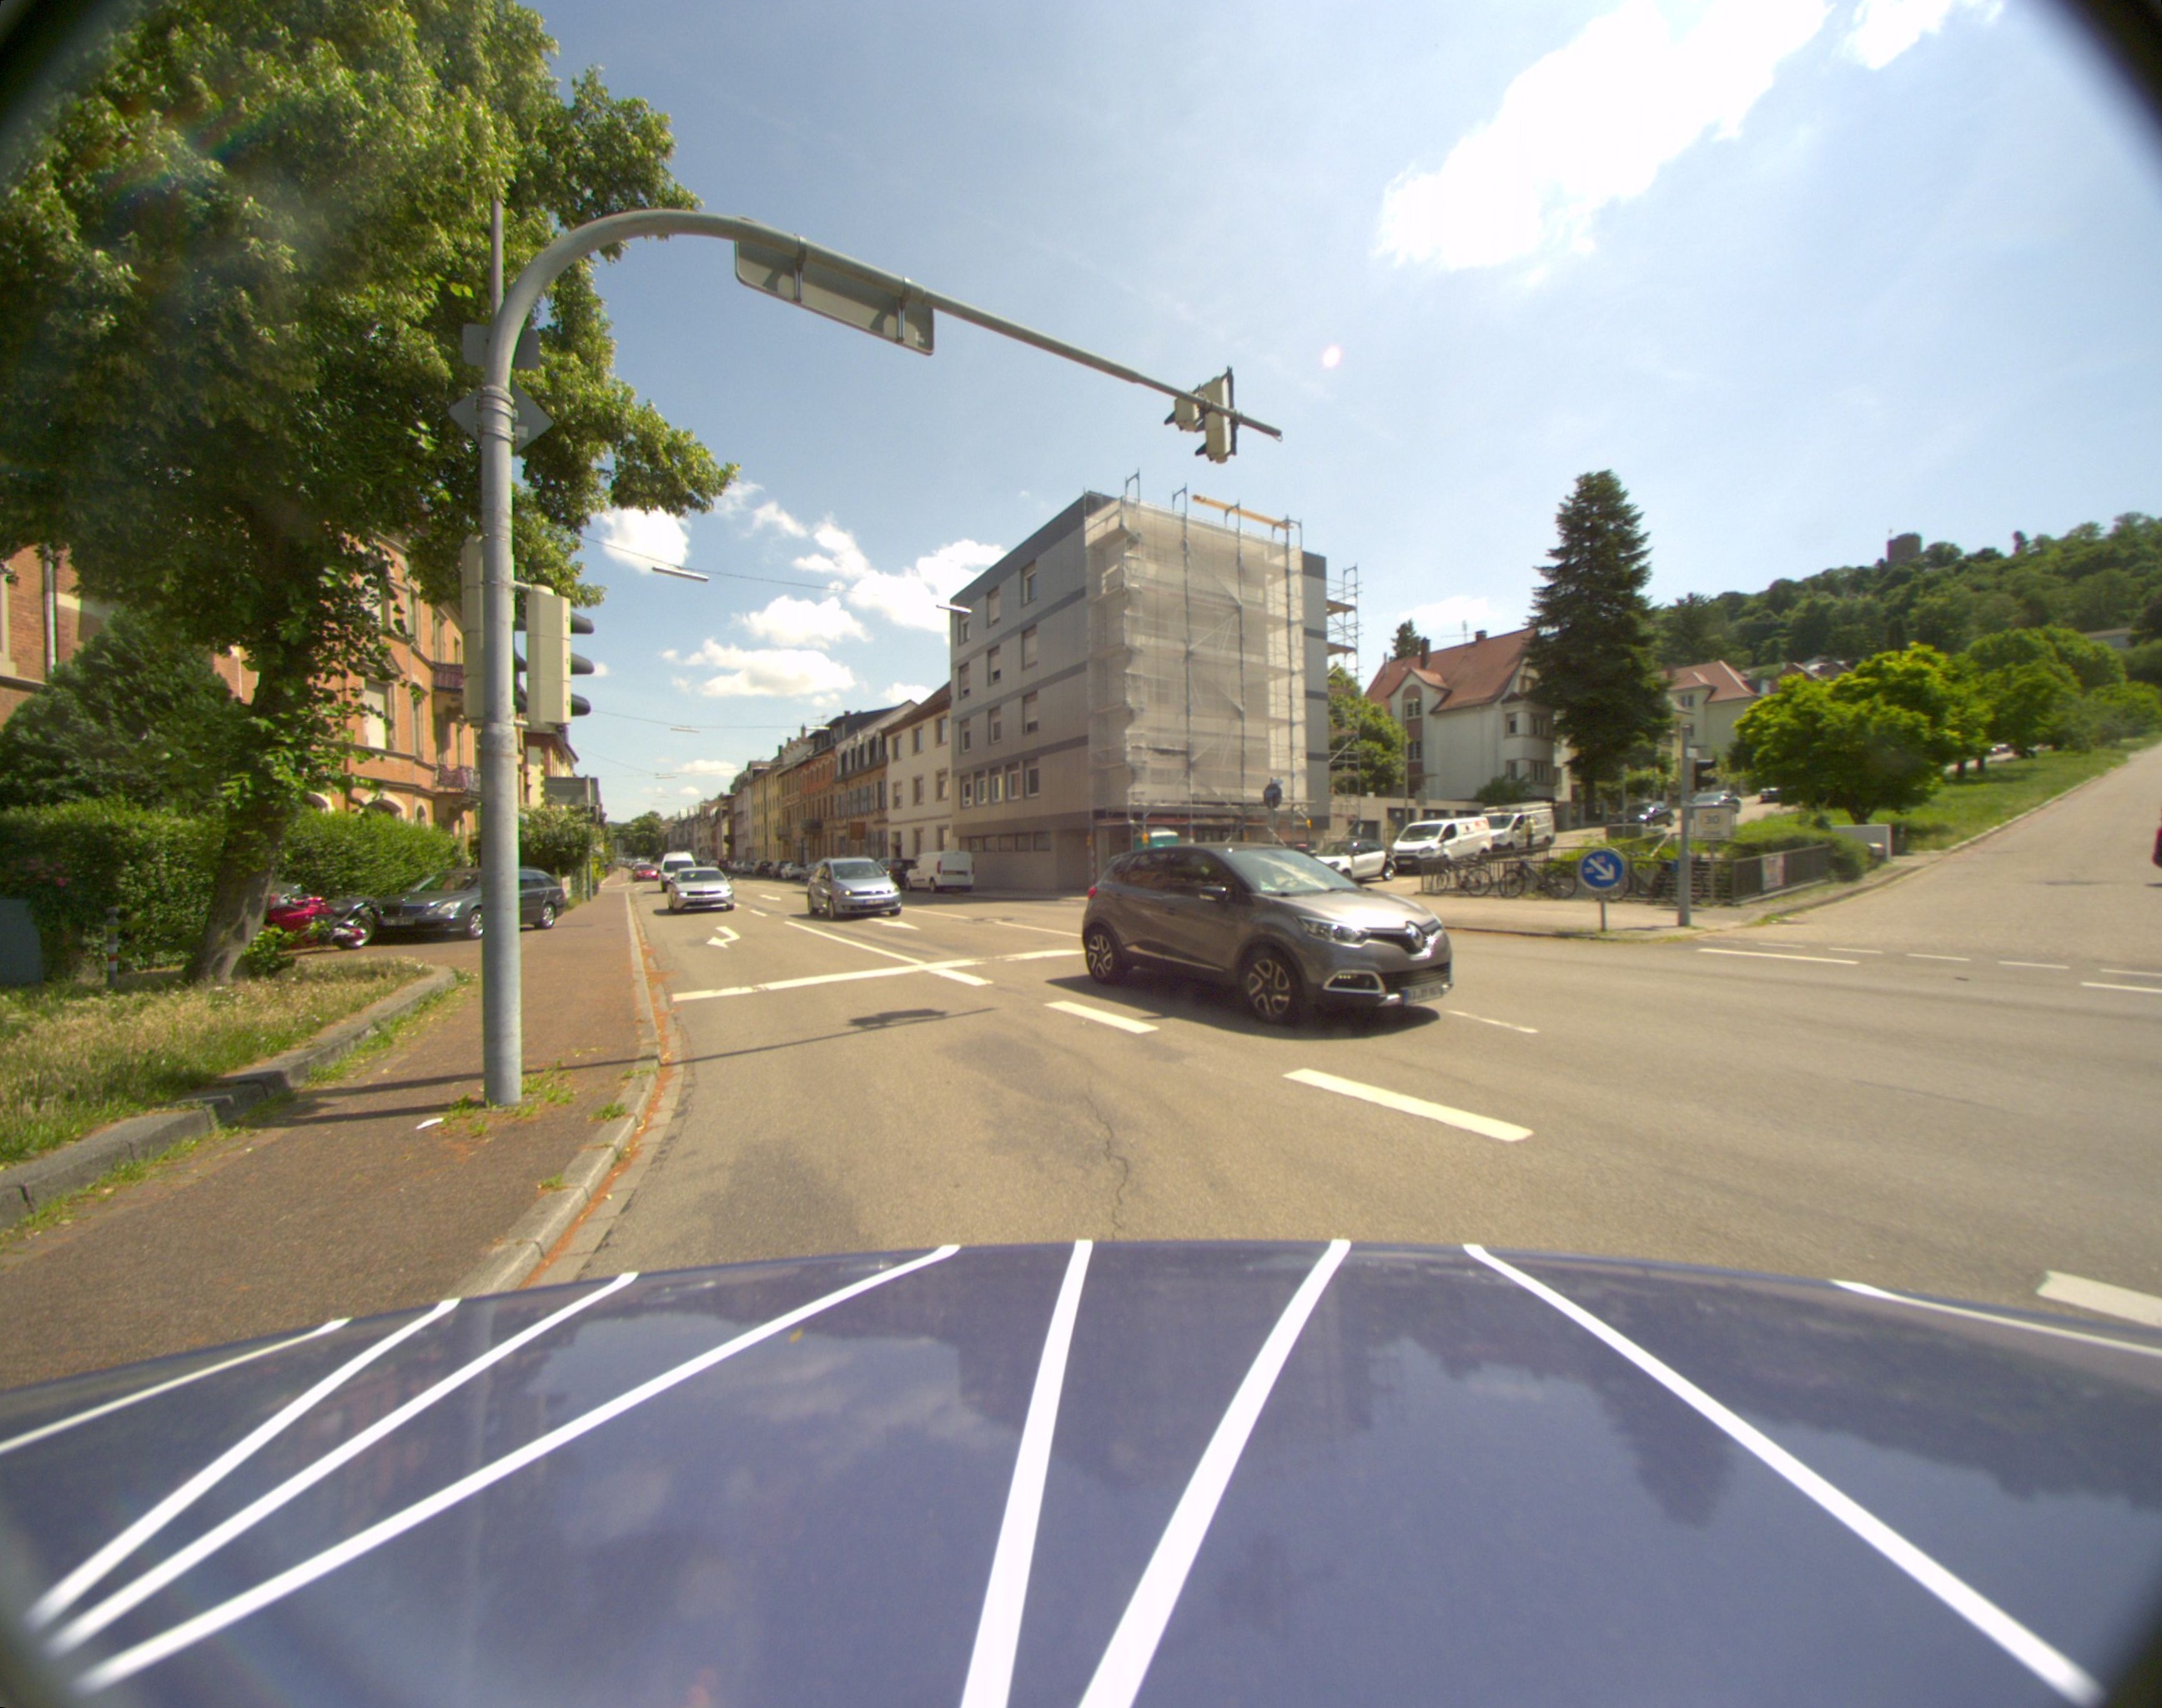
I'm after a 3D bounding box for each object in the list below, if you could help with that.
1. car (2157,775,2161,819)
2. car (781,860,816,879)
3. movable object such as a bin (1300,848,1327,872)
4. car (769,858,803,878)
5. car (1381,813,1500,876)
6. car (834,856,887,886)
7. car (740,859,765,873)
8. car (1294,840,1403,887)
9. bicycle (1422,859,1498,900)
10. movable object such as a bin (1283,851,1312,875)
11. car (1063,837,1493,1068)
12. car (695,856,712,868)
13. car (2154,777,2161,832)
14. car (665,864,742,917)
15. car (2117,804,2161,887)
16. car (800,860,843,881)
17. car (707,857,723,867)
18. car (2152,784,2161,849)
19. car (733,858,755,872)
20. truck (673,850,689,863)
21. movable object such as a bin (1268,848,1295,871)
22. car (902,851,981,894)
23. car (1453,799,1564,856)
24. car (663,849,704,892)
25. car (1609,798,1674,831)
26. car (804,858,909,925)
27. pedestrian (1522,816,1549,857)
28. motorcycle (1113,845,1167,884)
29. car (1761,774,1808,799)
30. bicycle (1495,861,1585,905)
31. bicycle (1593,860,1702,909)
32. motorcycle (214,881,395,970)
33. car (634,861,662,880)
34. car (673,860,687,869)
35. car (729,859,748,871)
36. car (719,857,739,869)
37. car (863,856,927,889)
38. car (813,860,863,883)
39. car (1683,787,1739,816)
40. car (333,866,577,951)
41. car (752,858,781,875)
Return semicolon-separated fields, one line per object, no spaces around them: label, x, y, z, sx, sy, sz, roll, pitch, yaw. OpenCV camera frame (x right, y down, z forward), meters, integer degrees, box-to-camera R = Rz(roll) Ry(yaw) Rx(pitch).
car;39.568;-2.106;26.806;4.005;1.380;1.805;-7;3;-34
car;-23.446;1.249;63.022;1.874;1.417;4.320;3;-1;-31
movable object such as a bin;9.415;0.245;30.795;0.742;0.921;0.702;-3;1;-30
car;-26.167;1.211;67.294;1.874;1.618;4.489;3;-1;-32
car;14.138;-0.413;29.757;5.019;2.003;1.995;-6;3;-36
car;-13.159;0.962;45.227;1.894;1.631;4.806;0;0;-30
car;-36.880;1.303;85.156;1.915;1.443;4.674;3;-1;-31
car;9.536;0.315;26.981;3.745;1.439;1.753;-3;1;-35
bicycle;9.500;0.620;19.121;0.399;0.961;1.714;-3;1;-35
movable object such as a bin;8.977;0.366;31.526;0.742;0.921;0.824;-3;1;-30
car;1.649;0.721;7.629;1.762;1.622;3.990;-3;1;-33
car;-51.724;1.119;104.077;1.710;1.565;4.302;-1;0;-30
car;35.414;-1.646;23.922;4.005;1.542;1.805;-7;4;-34
car;-12.682;1.141;25.361;1.909;1.489;4.476;-2;1;-31
car;23.563;-0.224;14.556;4.324;1.654;2.001;-1;1;7
car;-19.093;1.192;55.753;1.875;1.398;4.319;3;-1;-34
car;-58.280;1.258;120.897;1.754;1.402;4.093;3;-1;-34
car;31.208;-1.117;20.994;4.005;1.607;1.805;-7;4;-34
car;-40.290;1.254;90.728;1.874;1.542;4.303;3;-1;-31
truck;-85.631;0.565;162.603;2.329;2.725;8.048;-1;1;-32
movable object such as a bin;8.566;0.226;32.434;0.742;0.921;0.824;-3;1;-30
car;-6.460;0.778;34.763;1.923;1.815;4.776;0;0;-32
car;19.156;-1.193;33.989;5.018;2.165;2.070;-6;3;-31
car;-22.962;0.907;43.836;1.909;2.261;5.659;-2;1;-28
car;29.878;-2.122;40.483;3.745;1.439;1.753;-7;4;-37
car;-6.149;0.912;20.513;1.762;1.559;3.990;-2;1;-31
pedestrian;19.533;-0.748;32.645;0.713;1.704;0.741;-2;1;-29
motorcycle;2.335;0.411;30.018;2.040;1.463;0.882;-2;1;7
car;49.338;-4.729;53.263;3.745;1.439;1.753;-7;4;-37
bicycle;10.605;0.640;17.609;0.399;0.961;1.742;-3;1;-35
bicycle;11.776;0.605;15.850;0.399;0.961;1.779;-3;1;-35
motorcycle;-12.824;1.123;12.691;0.933;1.294;2.279;-1;-1;-9
car;-37.570;1.397;65.846;1.766;1.470;3.774;-4;2;-34
car;-69.102;1.803;130.976;1.769;1.486;4.235;-1;0;-32
car;-42.798;1.333;94.808;1.753;1.402;3.905;3;-1;-30
car;-46.479;1.194;100.424;1.751;1.578;3.948;2;-1;-15
car;-9.801;0.924;39.755;1.894;1.631;4.651;0;0;-32
car;-16.435;1.139;51.216;1.875;1.398;4.825;3;-1;-34
car;38.130;-3.201;45.949;3.745;1.439;1.753;-7;4;-37
car;-13.249;1.050;16.614;1.840;1.539;5.152;-1;-1;-11
car;-31.917;1.240;77.076;1.874;1.542;4.489;3;-1;-32
